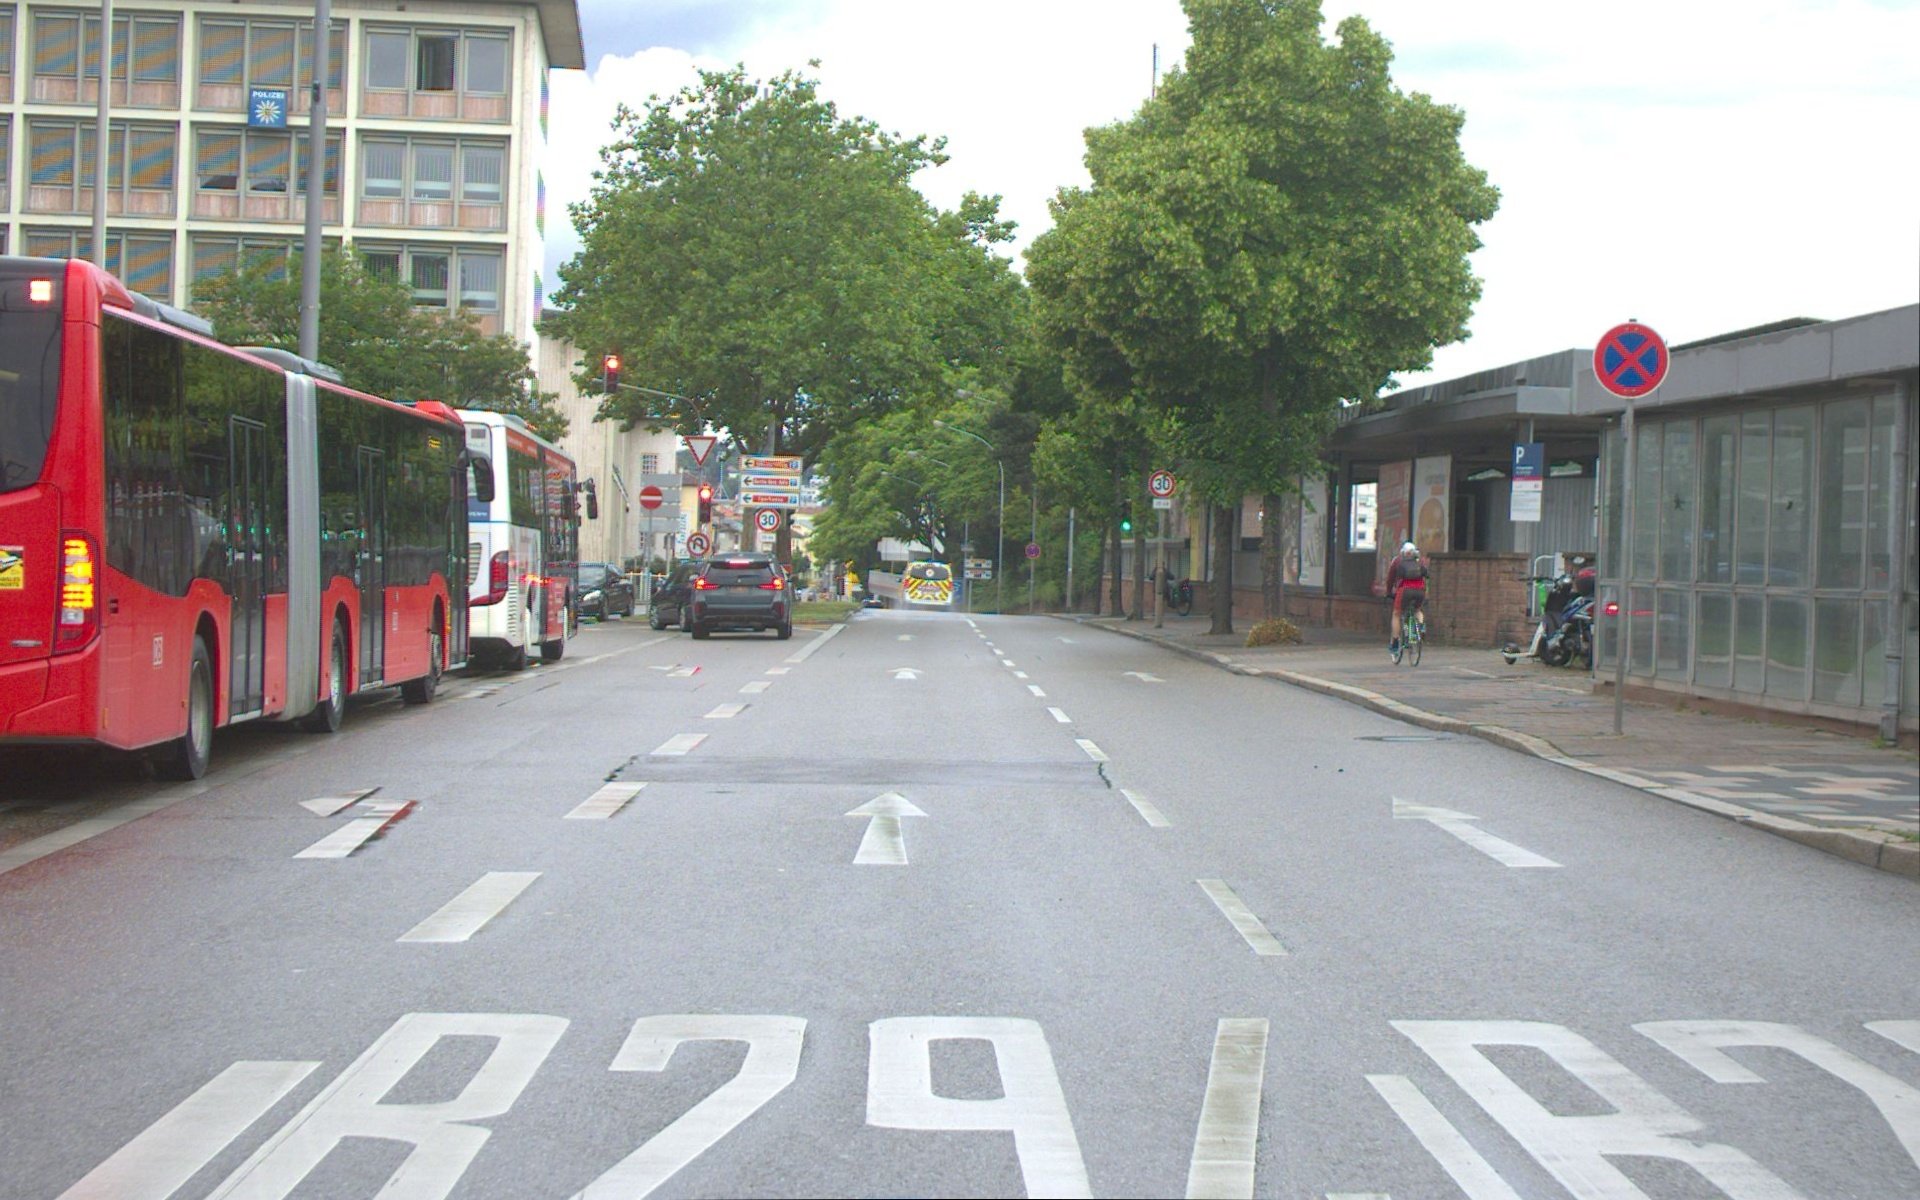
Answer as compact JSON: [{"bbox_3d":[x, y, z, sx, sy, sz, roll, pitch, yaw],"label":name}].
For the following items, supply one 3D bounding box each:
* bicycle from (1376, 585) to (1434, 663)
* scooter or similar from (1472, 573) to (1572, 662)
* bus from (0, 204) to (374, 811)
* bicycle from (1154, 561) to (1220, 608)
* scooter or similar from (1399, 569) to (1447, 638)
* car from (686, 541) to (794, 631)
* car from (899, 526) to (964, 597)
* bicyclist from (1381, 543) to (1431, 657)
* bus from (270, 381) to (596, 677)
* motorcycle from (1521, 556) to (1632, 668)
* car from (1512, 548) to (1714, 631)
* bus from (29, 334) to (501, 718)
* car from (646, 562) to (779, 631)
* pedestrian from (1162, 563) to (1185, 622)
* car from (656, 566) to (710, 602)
[{"bbox_3d":[6.037,0.320,46.680,0.446,1.013,1.678,-1,1,-3],"label":"bicycle"},{"bbox_3d":[7.393,0.223,45.305,0.492,1.149,1.716,1,0,-21],"label":"scooter or similar"},{"bbox_3d":[-6.110,-0.588,23.304,2.809,3.234,9.914,1,1,-2],"label":"bus"},{"bbox_3d":[6.049,-0.411,91.698,1.723,1.244,0.485,0,1,31],"label":"bicycle"},{"bbox_3d":[7.835,0.058,58.186,0.492,1.149,1.545,1,0,-4],"label":"scooter or similar"},{"bbox_3d":[-4.140,-0.272,65.188,1.964,1.634,4.359,1,0,-3],"label":"car"},{"bbox_3d":[-1.115,-1.501,131.642,2.264,2.647,4.001,1,1,-3],"label":"car"},{"bbox_3d":[6.049,-0.003,46.635,0.533,1.533,0.694,-1,0,-4],"label":"bicyclist"},{"bbox_3d":[-6.835,-0.913,46.555,2.955,3.428,12.561,1,1,-2],"label":"bus"},{"bbox_3d":[7.708,0.130,43.090,0.791,1.343,2.457,1,1,-3],"label":"motorcycle"},{"bbox_3d":[12.312,-0.205,65.013,3.558,1.537,1.747,0,1,4],"label":"car"},{"bbox_3d":[-6.305,-0.679,32.685,2.752,3.122,8.843,1,1,-1],"label":"bus"},{"bbox_3d":[-5.241,-0.090,72.231,1.815,1.404,4.415,0,0,-17],"label":"car"},{"bbox_3d":[5.678,-0.207,91.390,0.457,1.563,0.392,0,1,31],"label":"pedestrian"},{"bbox_3d":[-10.882,-0.620,135.279,1.691,1.293,4.092,2,0,1],"label":"car"}]
